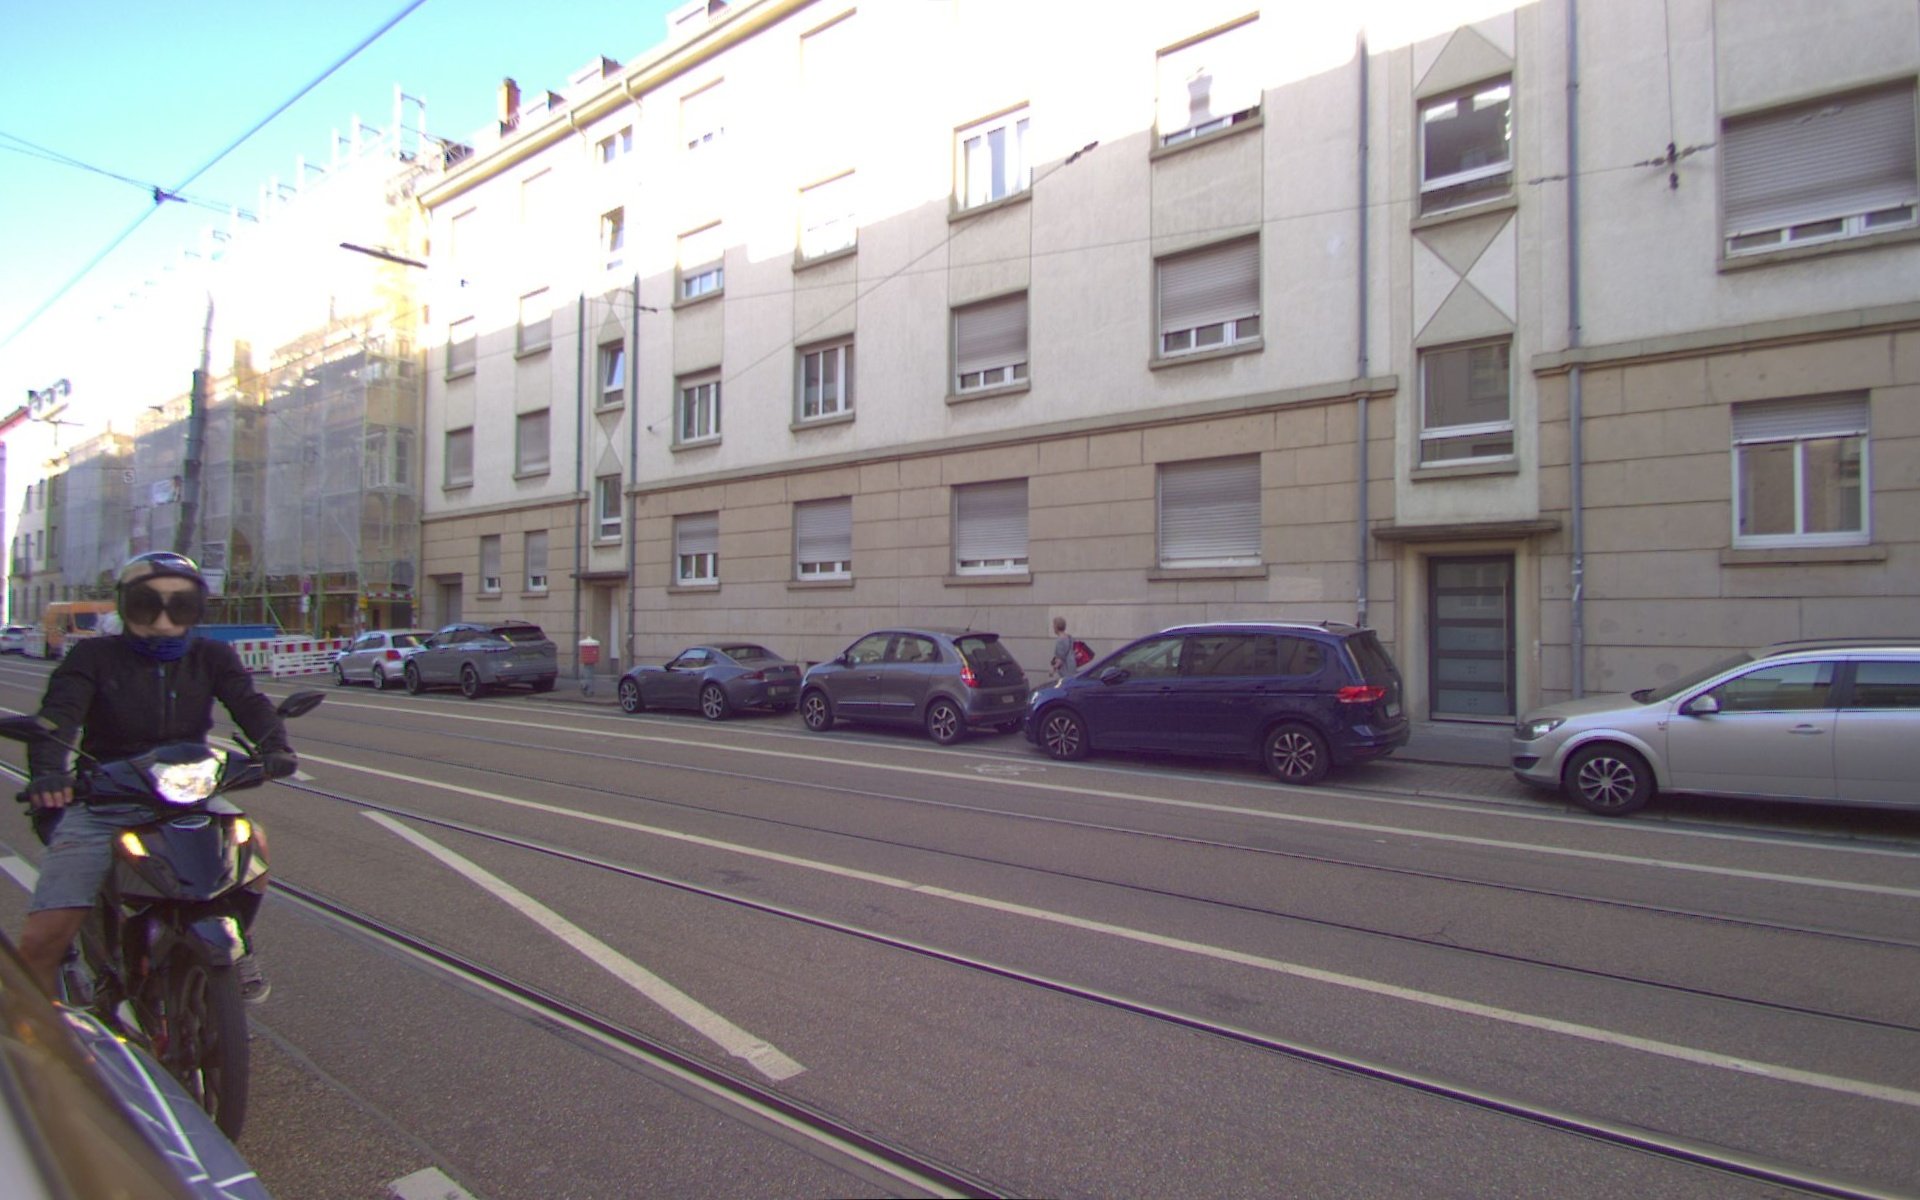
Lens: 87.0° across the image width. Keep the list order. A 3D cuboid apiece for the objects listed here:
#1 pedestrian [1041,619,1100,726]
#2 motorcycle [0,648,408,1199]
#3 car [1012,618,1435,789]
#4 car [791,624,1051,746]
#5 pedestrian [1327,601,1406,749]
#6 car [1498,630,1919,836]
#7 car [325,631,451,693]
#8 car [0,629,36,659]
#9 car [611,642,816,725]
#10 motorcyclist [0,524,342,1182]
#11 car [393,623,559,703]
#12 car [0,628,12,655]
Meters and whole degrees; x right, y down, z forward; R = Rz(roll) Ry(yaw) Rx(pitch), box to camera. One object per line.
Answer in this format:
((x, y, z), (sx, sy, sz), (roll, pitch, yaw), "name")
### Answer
((1.665, 1.075, 15.266), (0.693, 1.553, 0.563), (-2, -3, 39), "pedestrian")
((-2.634, 0.819, 3.230), (2.272, 1.302, 0.781), (-2, -3, 41), "motorcycle")
((2.897, 1.035, 11.669), (4.383, 1.611, 1.779), (-1, -1, 38), "car")
((-0.624, 1.136, 14.647), (3.535, 1.539, 1.659), (-1, -1, 38), "car")
((4.916, 0.889, 12.241), (0.729, 1.722, 0.597), (-2, -3, 39), "pedestrian")
((7.131, 1.005, 8.495), (4.383, 1.489, 1.779), (-1, -1, 38), "car")
((-14.380, 1.503, 25.389), (3.506, 1.423, 1.524), (-1, -1, 38), "car")
((-50.063, 2.277, 53.332), (3.964, 1.498, 1.662), (-2, -1, 42), "car")
((-4.310, 1.370, 17.493), (3.681, 1.244, 1.502), (-1, -1, 38), "car")
((-2.537, 0.658, 3.153), (0.899, 1.668, 0.781), (-2, -3, 41), "motorcyclist")
((-10.878, 1.338, 22.653), (4.201, 1.611, 1.675), (-1, -1, 38), "car")
((-54.578, 2.333, 56.808), (3.964, 1.498, 1.662), (-2, -1, 42), "car")
